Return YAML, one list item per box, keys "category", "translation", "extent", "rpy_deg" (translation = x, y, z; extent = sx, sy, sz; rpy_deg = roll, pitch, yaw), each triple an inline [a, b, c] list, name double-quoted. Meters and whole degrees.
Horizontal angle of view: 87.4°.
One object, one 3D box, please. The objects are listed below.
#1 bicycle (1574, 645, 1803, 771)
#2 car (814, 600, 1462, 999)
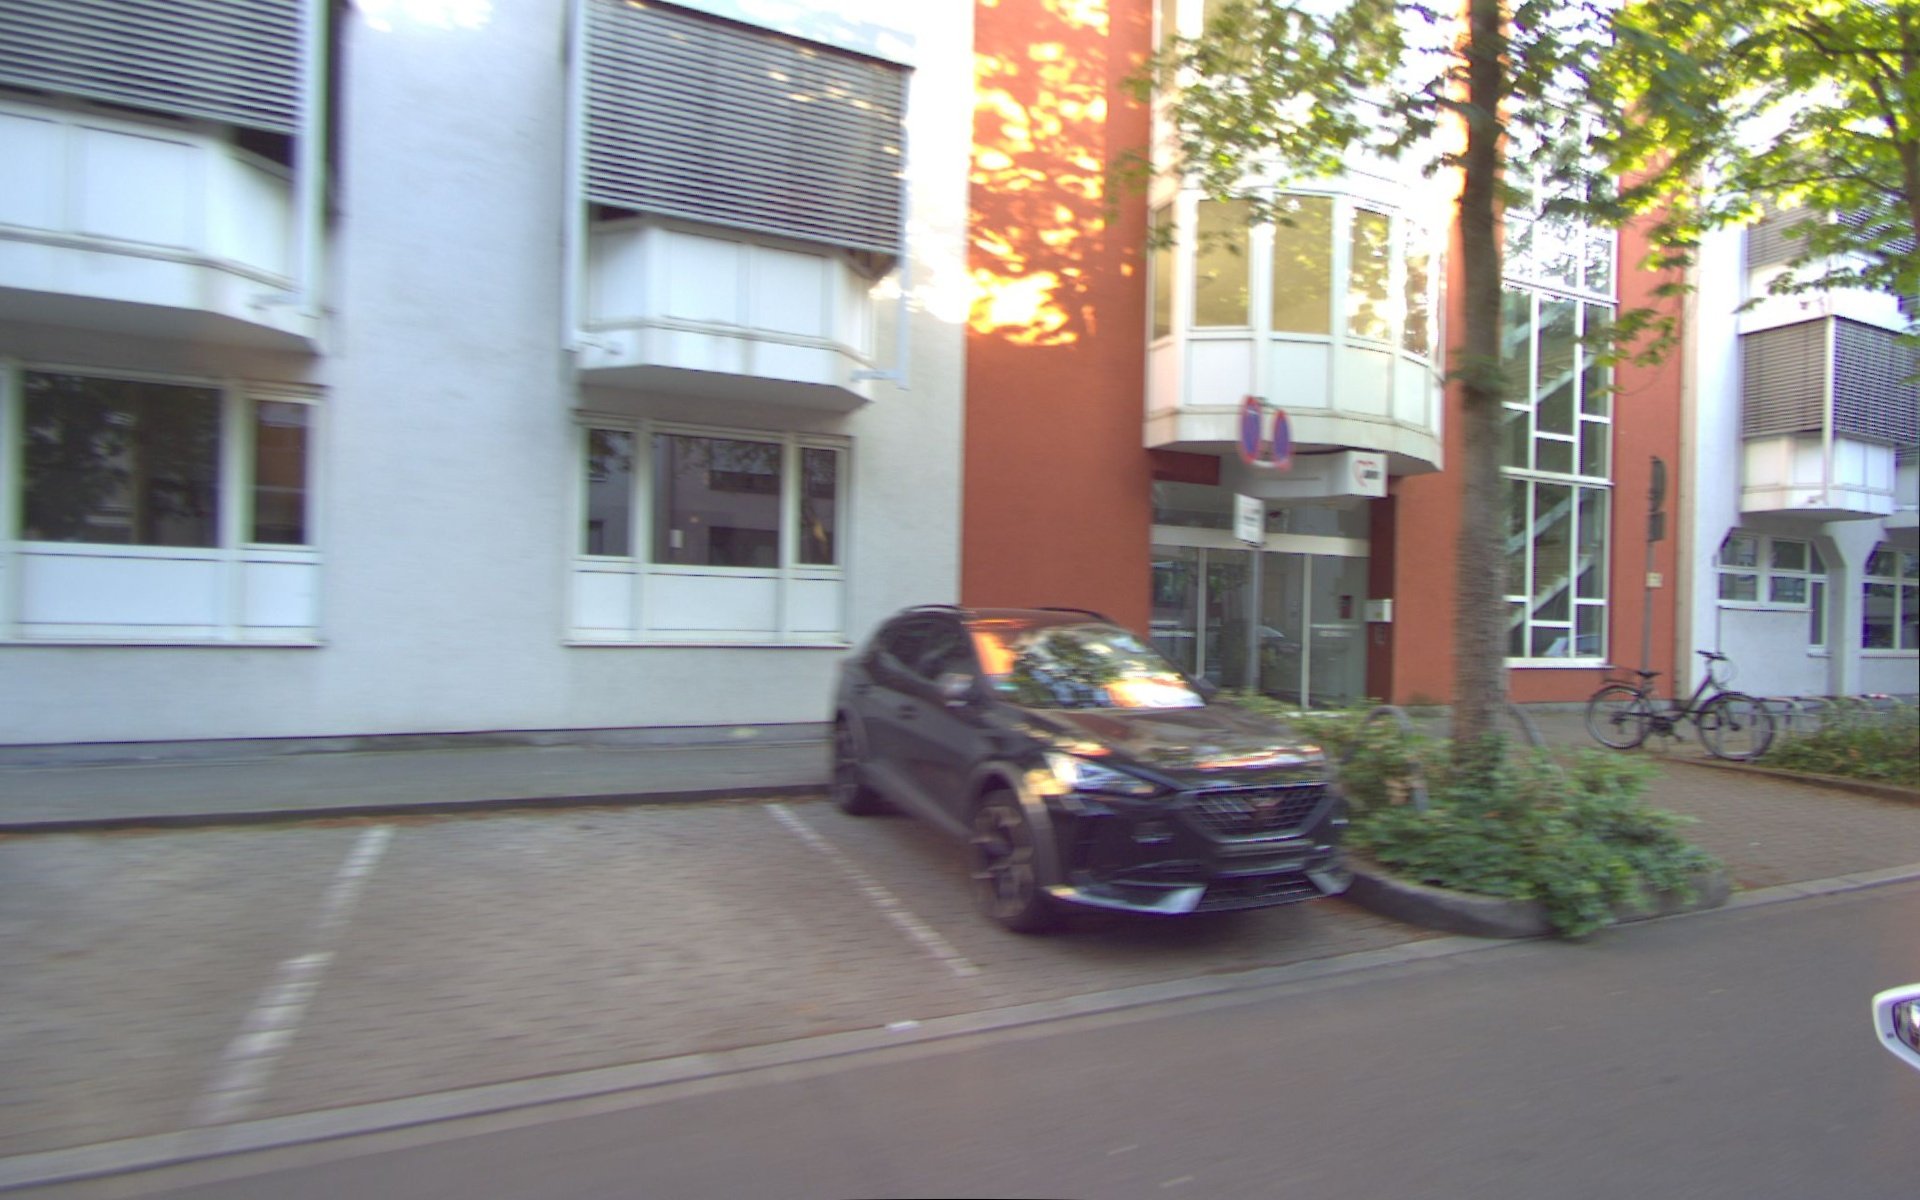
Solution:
- category: "bicycle"
  translation: [7.956, 1.127, 11.078]
  extent: [0.648, 1.192, 1.949]
  rpy_deg: [2, -1, -30]
- category: "car"
  translation: [0.588, 0.804, 6.367]
  extent: [1.846, 1.546, 4.497]
  rpy_deg: [2, -1, -24]
